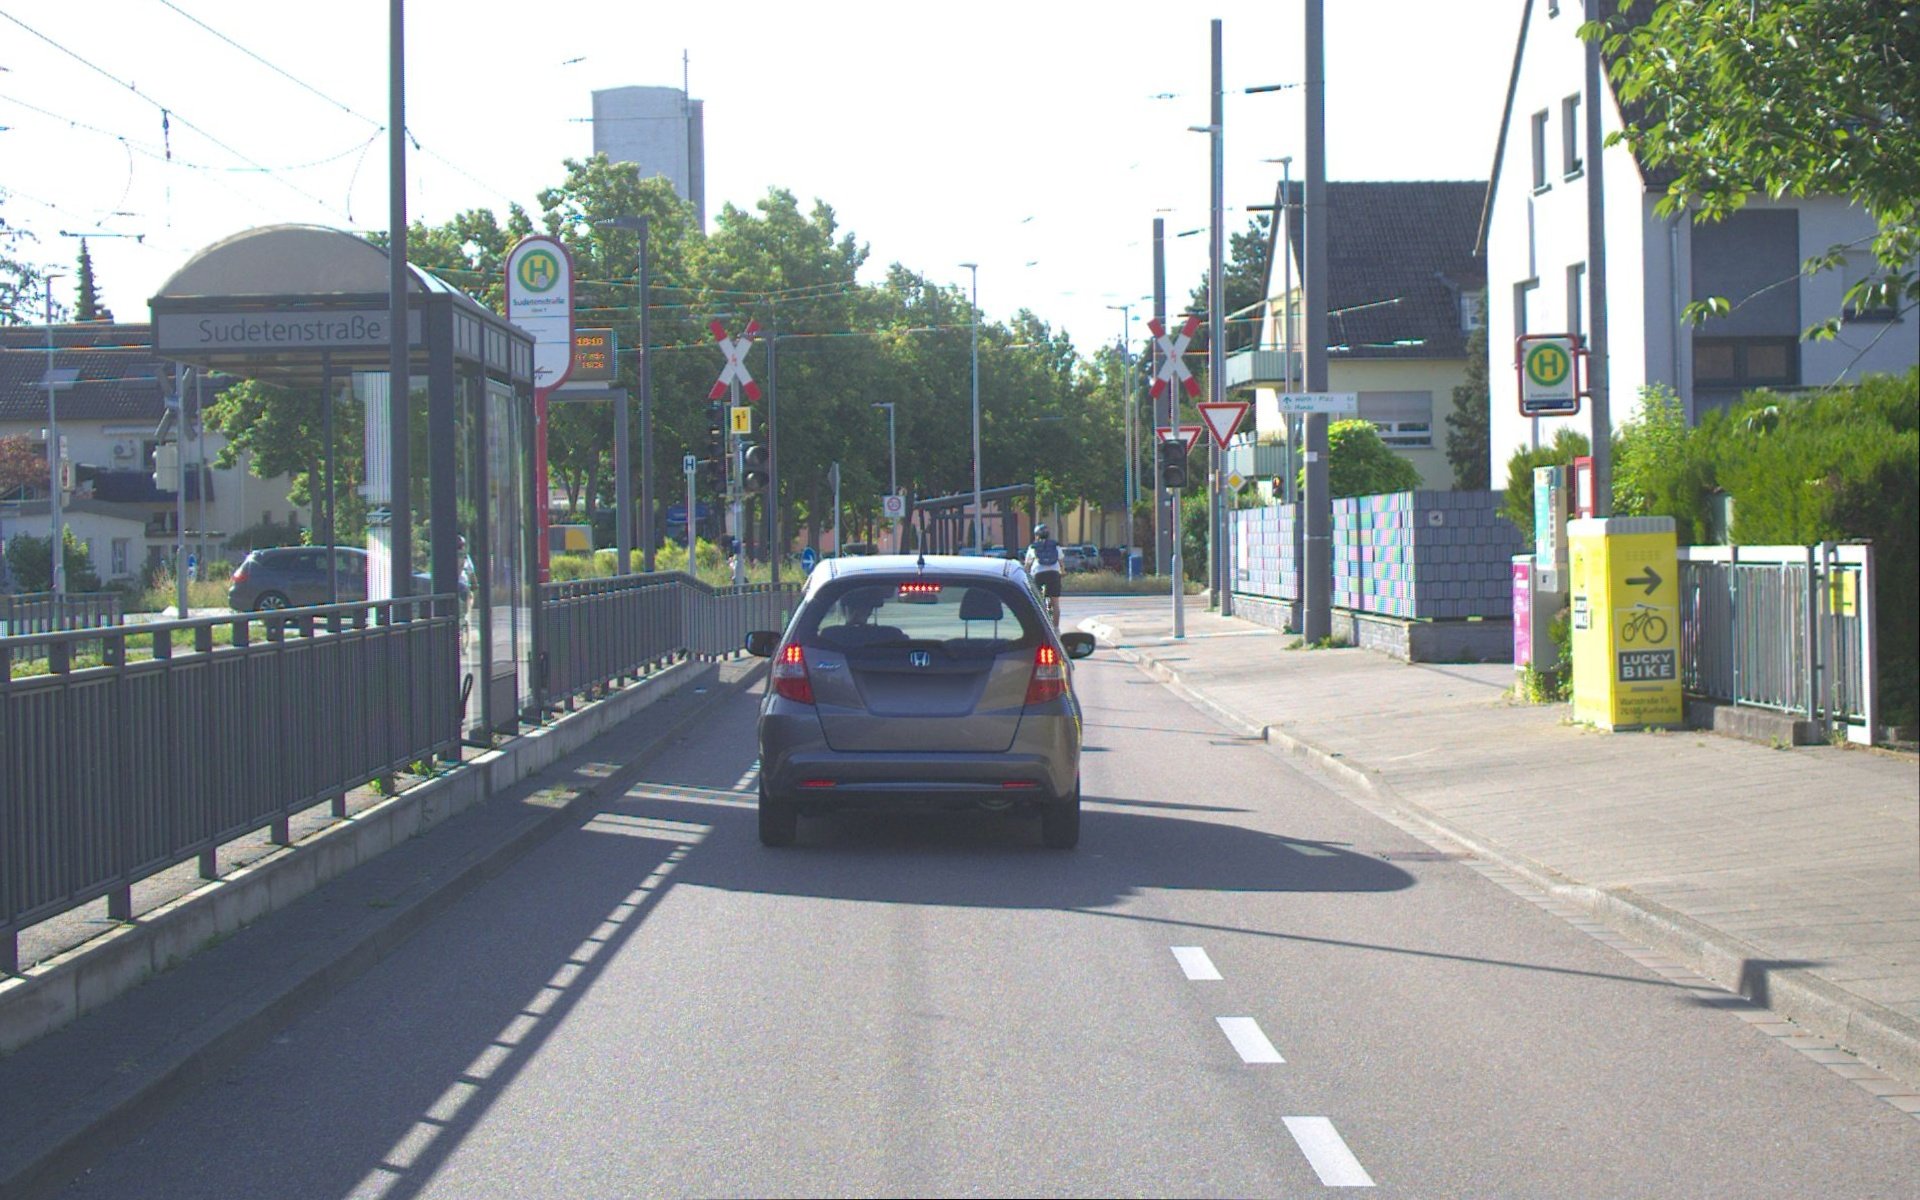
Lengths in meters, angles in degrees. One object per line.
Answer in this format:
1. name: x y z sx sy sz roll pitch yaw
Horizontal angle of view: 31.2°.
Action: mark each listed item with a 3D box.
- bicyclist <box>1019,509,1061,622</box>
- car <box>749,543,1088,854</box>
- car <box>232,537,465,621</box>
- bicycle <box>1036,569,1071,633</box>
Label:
1. bicyclist: 1.219 -0.526 52.289 0.598 1.695 0.683 1 0 0
2. car: -0.244 0.461 18.840 1.670 1.530 3.487 1 1 -1
3. car: -11.568 -0.405 65.138 3.988 1.524 1.808 1 0 6
4. bicycle: 1.419 0.015 52.474 0.475 0.958 1.657 1 0 0
